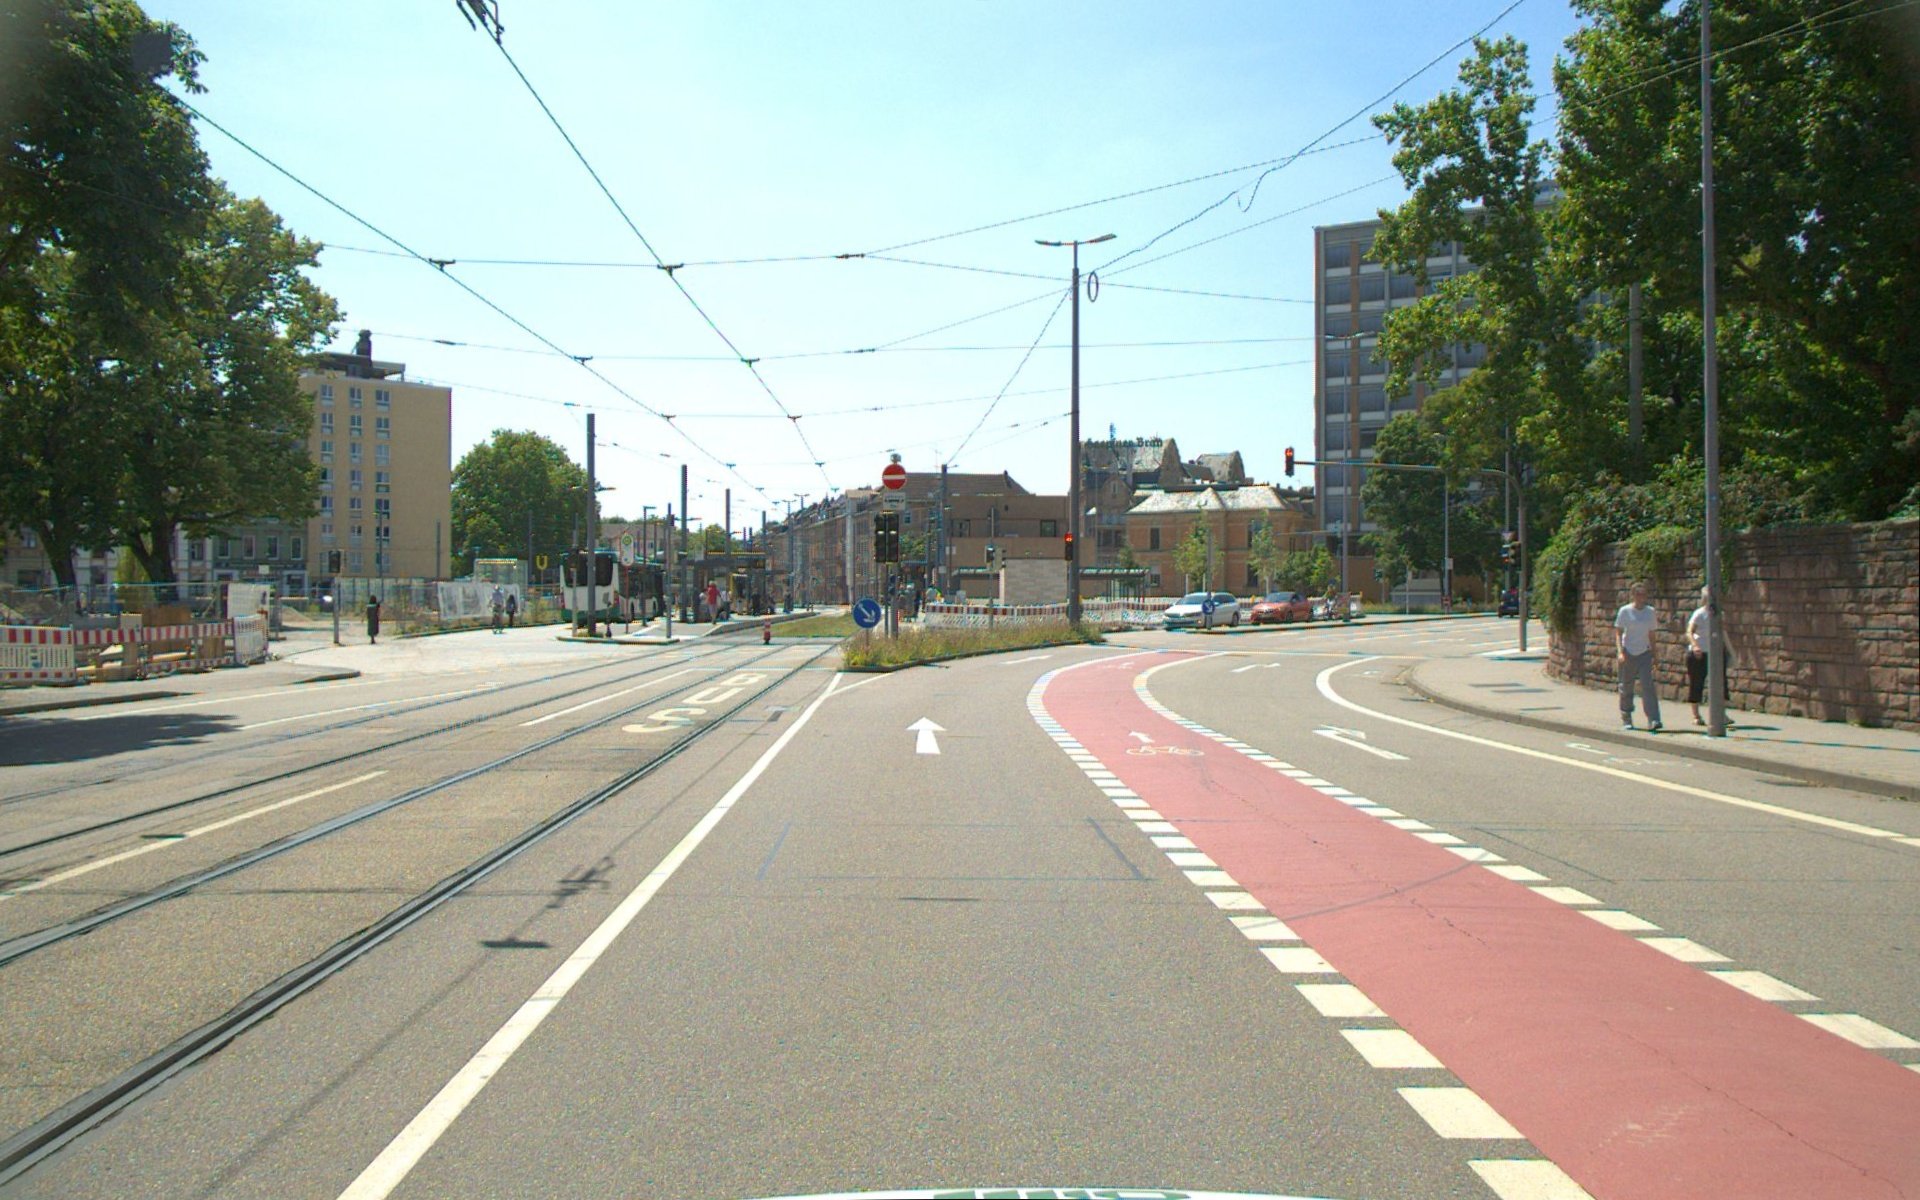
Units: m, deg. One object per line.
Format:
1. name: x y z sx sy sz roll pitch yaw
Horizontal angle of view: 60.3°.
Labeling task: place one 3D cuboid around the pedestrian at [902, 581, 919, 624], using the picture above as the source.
1. pedestrian: -2.299 0.123 77.151 0.705 1.957 1.073 0 -1 -6

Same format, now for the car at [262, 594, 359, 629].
1. car: -31.980 0.555 81.455 4.093 1.678 1.853 0 0 10

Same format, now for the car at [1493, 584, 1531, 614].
1. car: 29.735 -0.054 89.011 1.654 1.553 3.689 0 0 23

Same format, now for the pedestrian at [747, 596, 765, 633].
1. pedestrian: -11.945 0.853 97.007 0.880 2.133 0.832 -1 0 3

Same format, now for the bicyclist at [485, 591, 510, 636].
1. bicyclist: -18.316 0.534 65.535 0.805 1.739 0.770 0 0 -5

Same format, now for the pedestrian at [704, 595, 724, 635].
1. pedestrian: -11.520 0.696 77.432 0.895 1.884 0.656 -1 0 -12

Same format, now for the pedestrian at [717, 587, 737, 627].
1. pedestrian: -12.539 0.395 89.091 0.880 2.133 0.832 -1 0 3

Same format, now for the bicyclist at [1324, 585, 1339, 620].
1. bicyclist: 18.729 0.116 83.442 0.558 1.749 0.504 -2 0 40

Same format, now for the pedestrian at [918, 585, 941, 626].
1. pedestrian: -1.422 0.247 76.864 0.761 1.897 0.719 1 -1 -42

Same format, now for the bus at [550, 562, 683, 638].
1. bus: -16.041 -0.013 78.865 2.949 3.213 17.494 0 0 -1

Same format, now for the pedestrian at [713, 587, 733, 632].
1. pedestrian: -11.557 0.463 80.593 0.883 2.133 0.829 -1 0 -13

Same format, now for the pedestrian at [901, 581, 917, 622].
1. pedestrian: -2.368 0.071 76.128 0.645 1.864 0.758 -1 0 -9

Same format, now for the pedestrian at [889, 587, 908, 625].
1. pedestrian: -2.798 0.277 75.010 0.714 1.736 0.741 0 -1 -13

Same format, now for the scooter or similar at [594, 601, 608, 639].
1. scooter or similar: -11.860 0.648 54.613 0.312 1.227 1.247 -1 0 -6

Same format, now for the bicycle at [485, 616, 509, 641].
1. bicycle: -18.318 1.111 65.500 0.493 0.930 2.368 0 0 -5

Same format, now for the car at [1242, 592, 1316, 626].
1. car: 14.148 0.399 73.168 1.701 1.450 4.110 -1 0 35

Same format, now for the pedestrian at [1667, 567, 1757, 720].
1. pedestrian: 9.223 0.527 20.309 0.797 1.839 0.700 -1 0 2

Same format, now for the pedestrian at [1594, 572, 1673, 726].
1. pedestrian: 8.225 0.587 20.213 0.663 1.839 0.748 -1 0 3

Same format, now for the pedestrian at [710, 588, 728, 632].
1. pedestrian: -11.618 0.479 79.639 0.809 2.133 0.639 -1 0 -13

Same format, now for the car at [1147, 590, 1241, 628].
1. car: 9.347 0.354 65.784 1.957 1.463 4.693 0 0 32

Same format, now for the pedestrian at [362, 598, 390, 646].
1. pedestrian: -20.147 0.758 57.068 0.593 1.630 0.826 0 0 8

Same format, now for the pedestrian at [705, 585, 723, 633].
1. pedestrian: -10.143 0.370 68.160 0.660 1.943 0.639 -1 0 -11

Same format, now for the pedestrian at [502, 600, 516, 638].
1. pedestrian: -20.467 0.853 75.077 0.556 1.735 0.397 0 0 -9

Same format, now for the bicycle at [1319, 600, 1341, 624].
1. bicycle: 18.683 0.593 83.474 0.391 1.194 1.764 -1 -1 35

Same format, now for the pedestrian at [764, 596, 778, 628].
1. pedestrian: -12.678 0.795 110.866 0.812 2.133 0.901 -1 0 -2
